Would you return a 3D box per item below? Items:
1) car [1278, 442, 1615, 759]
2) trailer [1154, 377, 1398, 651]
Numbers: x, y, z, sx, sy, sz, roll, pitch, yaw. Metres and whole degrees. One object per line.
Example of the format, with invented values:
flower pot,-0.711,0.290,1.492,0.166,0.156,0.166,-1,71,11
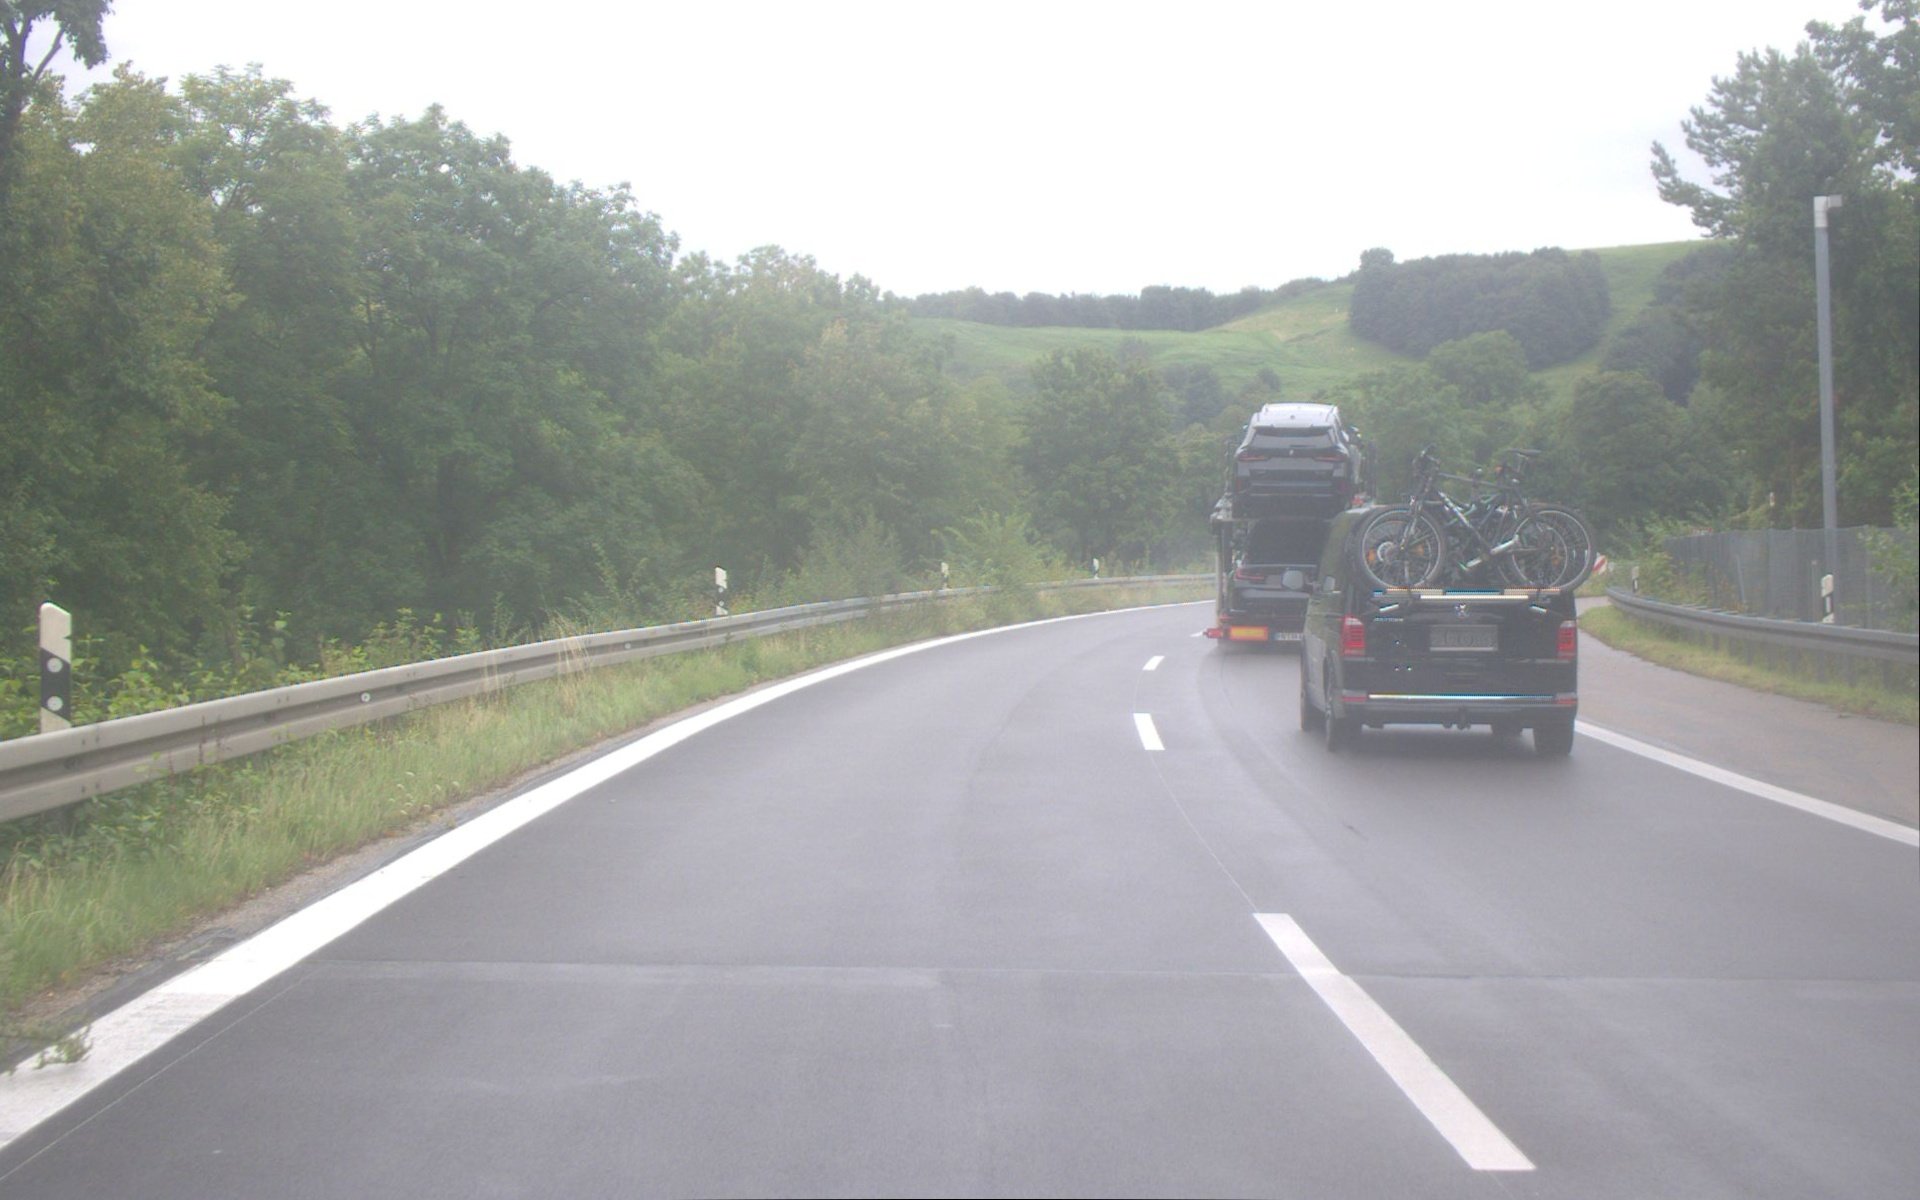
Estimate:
car,3.766,-0.068,27.675,2.110,2.257,5.896,1,1,3
trailer,5.030,-1.394,57.074,3.449,3.986,12.026,2,1,3
